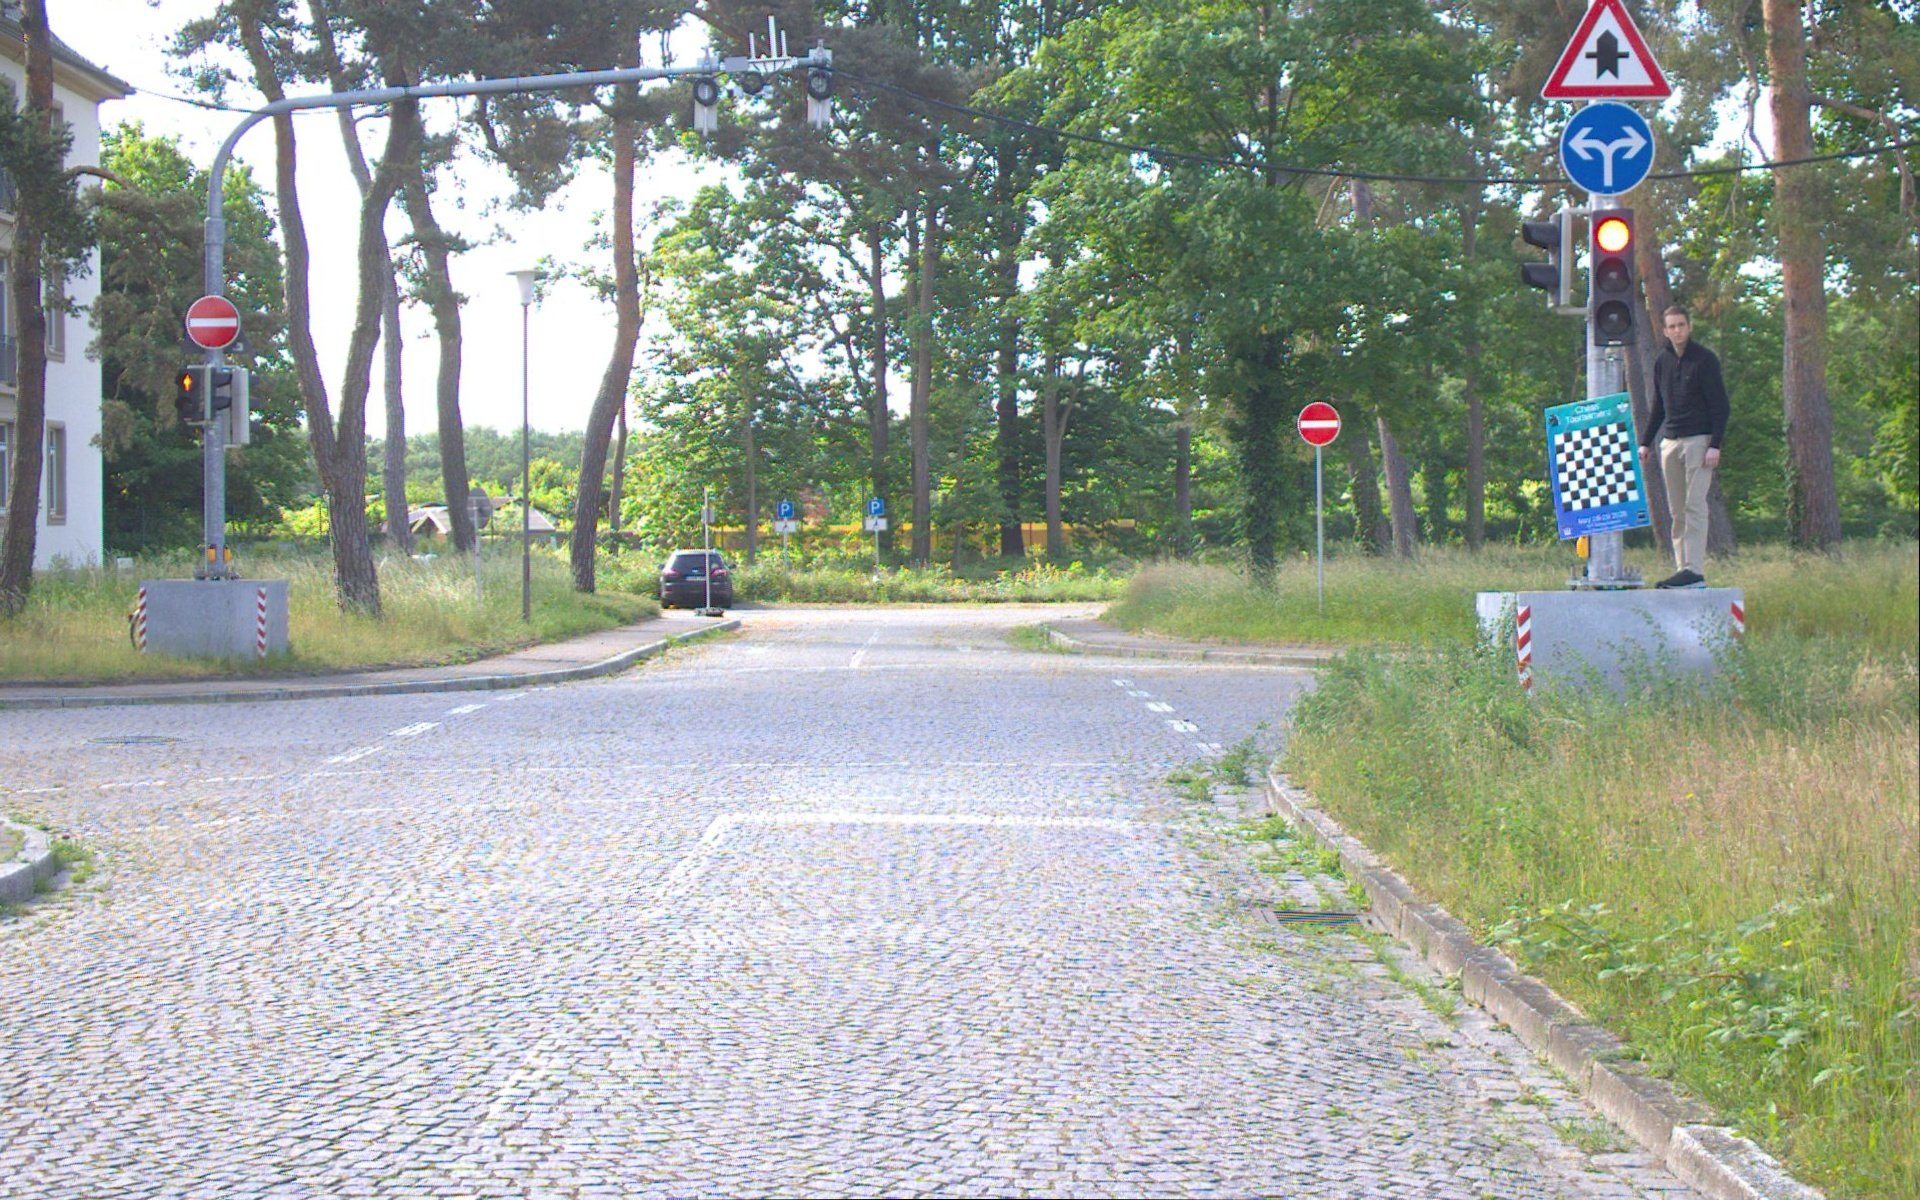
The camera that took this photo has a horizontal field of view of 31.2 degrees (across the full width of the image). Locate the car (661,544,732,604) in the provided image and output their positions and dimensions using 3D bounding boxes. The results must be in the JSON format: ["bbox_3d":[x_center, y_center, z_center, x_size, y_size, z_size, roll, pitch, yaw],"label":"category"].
[{"bbox_3d":[-6.853,-0.694,89.723,1.709,1.491,3.919,0,1,-3],"label":"car"}]

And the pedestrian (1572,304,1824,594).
[{"bbox_3d":[4.727,-0.945,22.018,1.171,1.790,1.060,0,2,44],"label":"pedestrian"}]
